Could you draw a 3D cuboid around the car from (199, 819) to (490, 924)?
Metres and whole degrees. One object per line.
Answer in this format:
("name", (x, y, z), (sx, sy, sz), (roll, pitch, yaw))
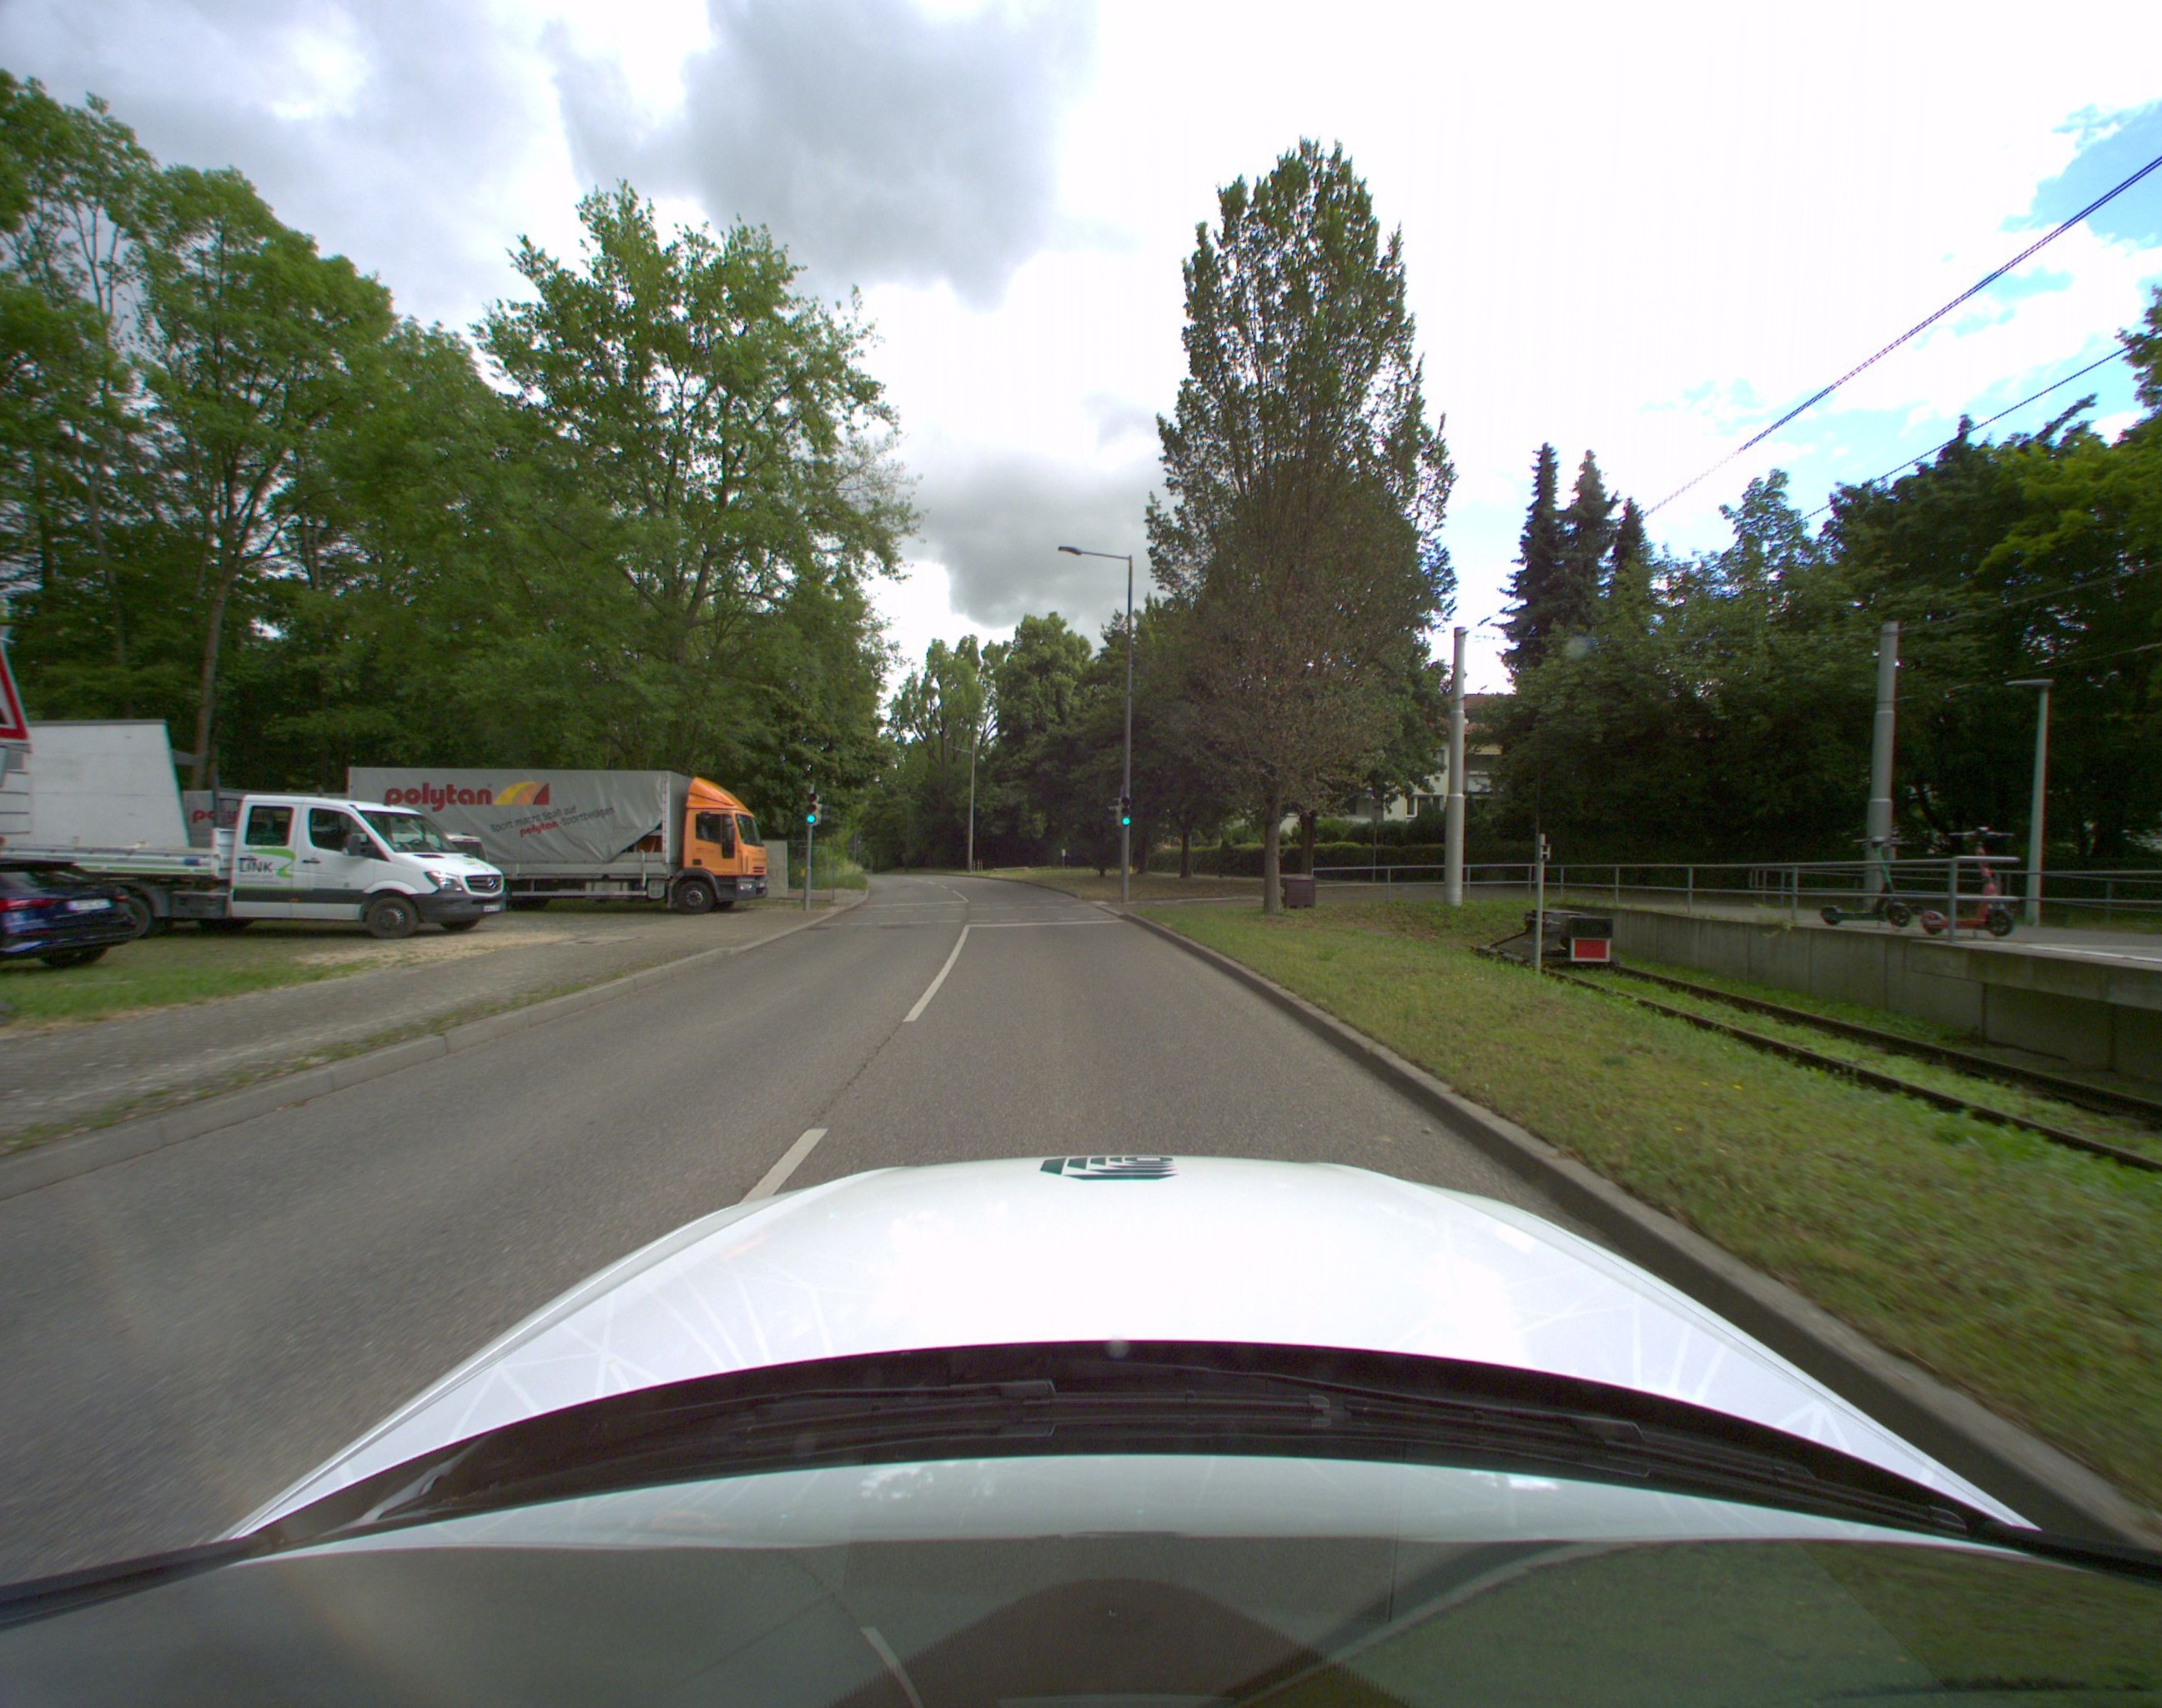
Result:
("car", (-14.812, 0.351, 16.618), (3.986, 1.909, 1.776), (2, 0, -9))

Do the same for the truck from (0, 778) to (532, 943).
("truck", (-13.487, 0.168, 13.913), (6.385, 2.416, 2.116), (2, -1, -10))

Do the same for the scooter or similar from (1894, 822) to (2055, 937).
("scooter or similar", (10.334, 0.295, 9.475), (0.428, 1.253, 1.253), (0, -2, -2))

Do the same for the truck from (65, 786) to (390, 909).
("truck", (-24.147, -0.218, 23.490), (5.924, 3.199, 2.434), (0, 2, -25))

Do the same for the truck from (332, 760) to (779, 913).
("truck", (-12.855, -0.349, 20.736), (9.223, 3.531, 2.558), (1, -1, -8))

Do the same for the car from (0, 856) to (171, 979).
("car", (-13.507, 0.688, 9.161), (3.994, 1.327, 1.708), (1, -3, -15))

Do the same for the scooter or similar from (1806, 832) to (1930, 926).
("scooter or similar", (11.110, 0.350, 11.545), (0.429, 1.253, 1.252), (0, -2, -5))
